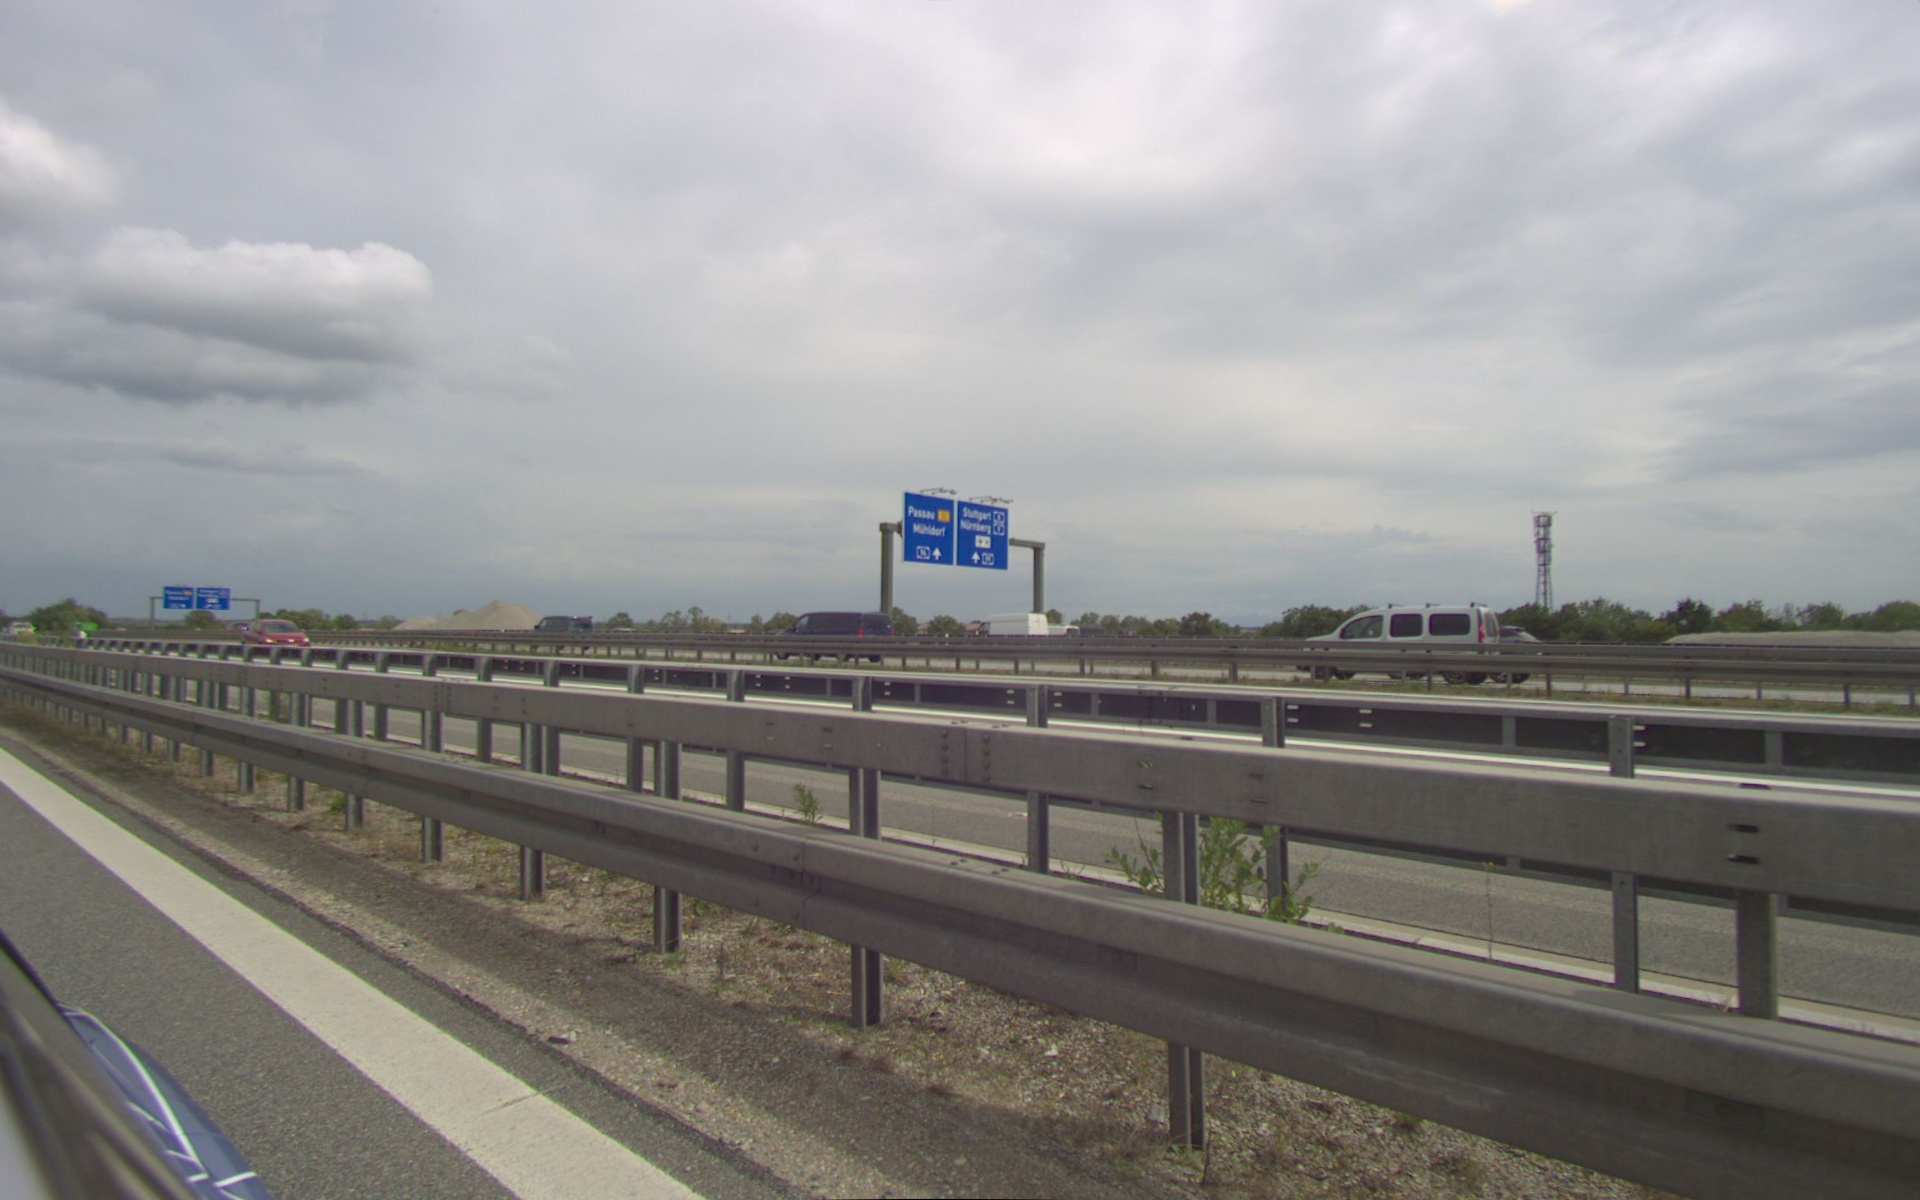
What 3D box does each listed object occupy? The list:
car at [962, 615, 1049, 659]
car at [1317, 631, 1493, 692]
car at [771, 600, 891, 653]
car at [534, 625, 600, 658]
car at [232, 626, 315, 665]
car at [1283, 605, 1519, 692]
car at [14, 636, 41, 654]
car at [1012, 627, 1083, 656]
[{"bbox_3d":[2.476,2.052,55.685,4.487,2.323,1.973,-3,-2,41],"label":"car"},{"bbox_3d":[11.827,1.599,27.028,3.998,1.444,1.637,-2,0,41],"label":"car"},{"bbox_3d":[-4.914,0.990,38.136,4.901,1.821,1.723,-2,1,43],"label":"car"},{"bbox_3d":[-23.231,2.443,59.751,4.219,1.829,1.887,-3,-1,41],"label":"car"},{"bbox_3d":[-29.213,1.930,43.012,4.350,1.557,1.801,-3,-2,40],"label":"car"},{"bbox_3d":[10.522,1.114,24.373,4.820,1.807,1.891,-2,2,41],"label":"car"},{"bbox_3d":[-110.820,5.393,120.247,4.463,2.029,1.973,-3,-2,41],"label":"car"},{"bbox_3d":[5.068,2.382,58.911,3.908,1.506,1.649,-2,1,41],"label":"car"}]
